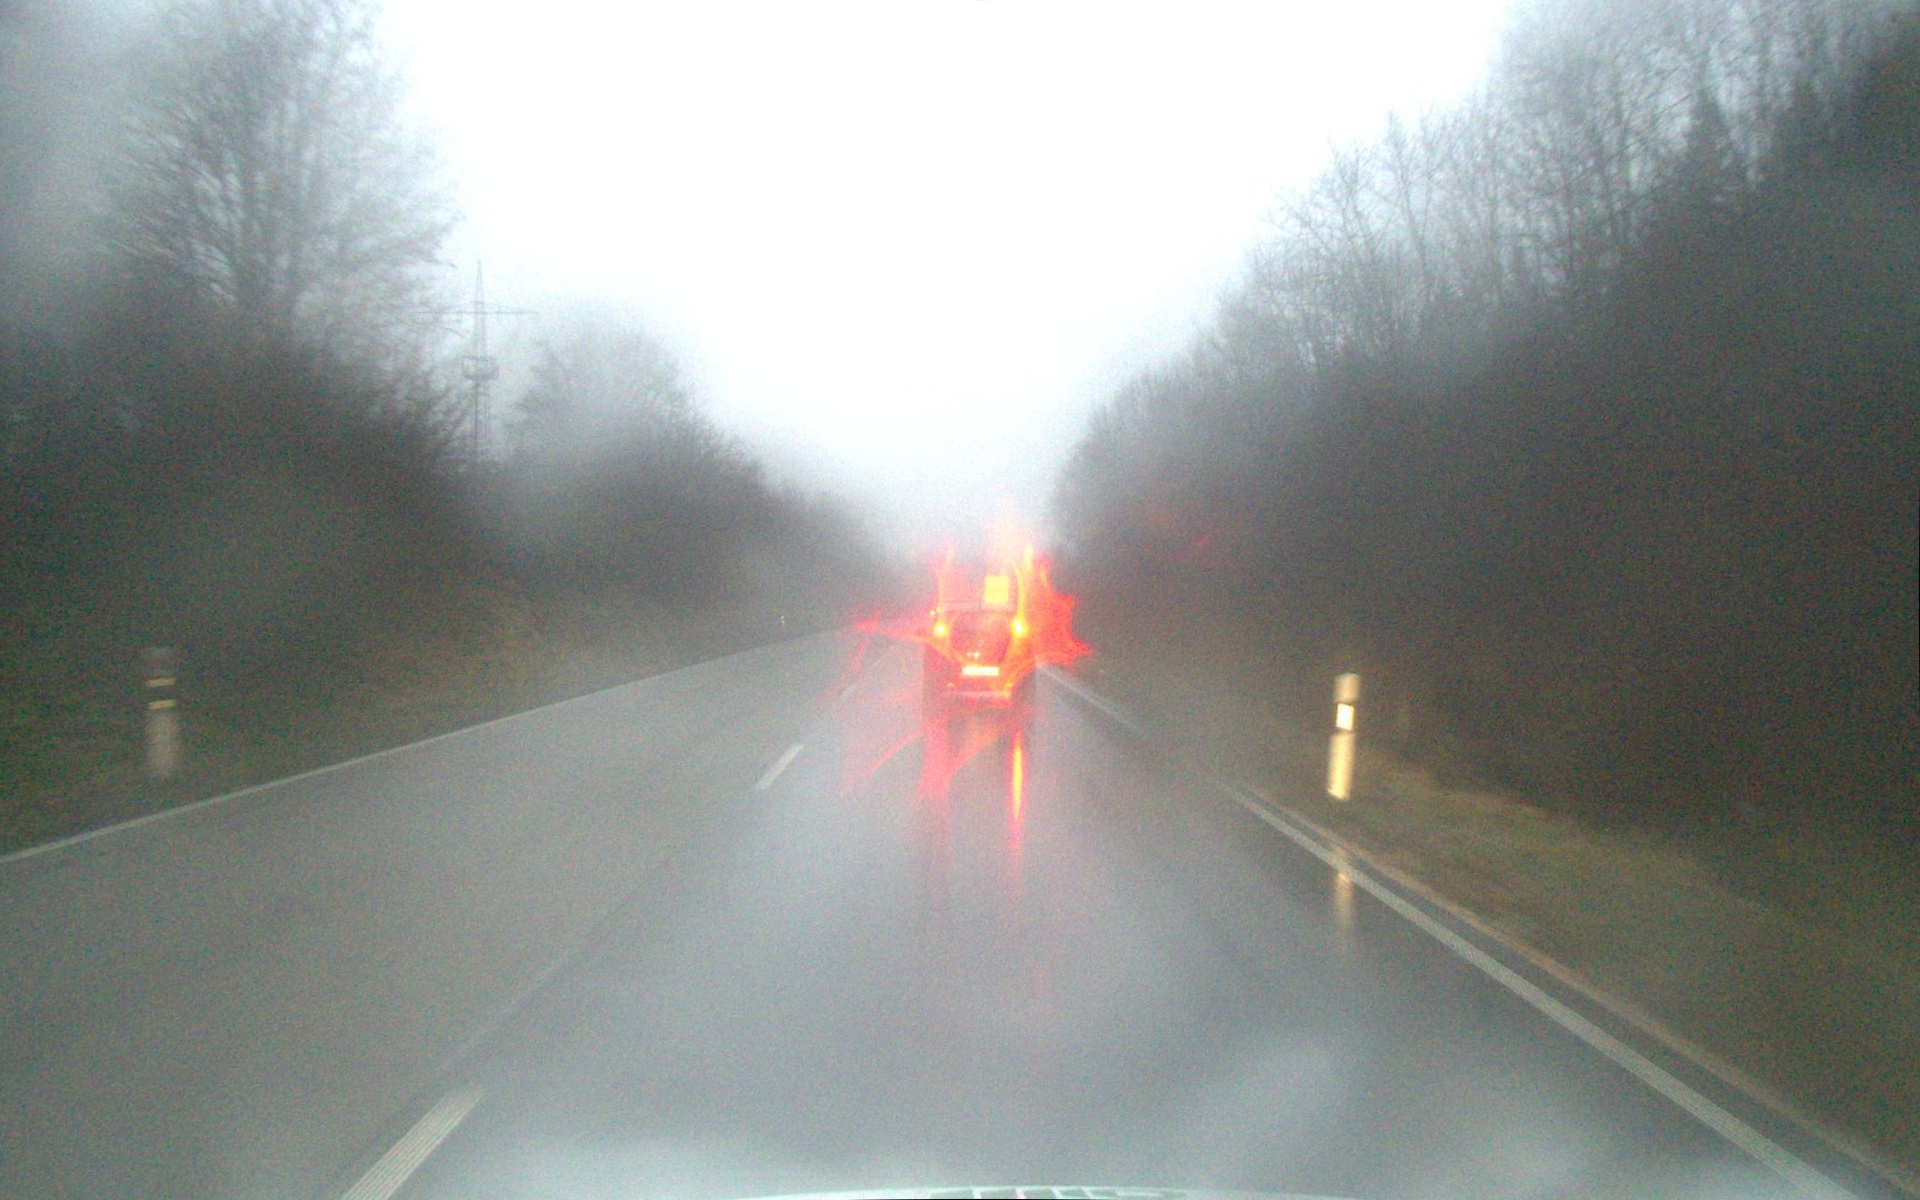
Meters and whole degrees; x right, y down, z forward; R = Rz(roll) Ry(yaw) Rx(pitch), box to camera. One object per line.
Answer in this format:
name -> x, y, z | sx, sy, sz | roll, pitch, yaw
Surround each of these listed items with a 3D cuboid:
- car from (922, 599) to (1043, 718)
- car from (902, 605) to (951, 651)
car -> 0.345, 0.839, 25.488 | 1.692, 1.672, 4.000 | 1, 0, 1
car -> -1.235, 1.019, 61.804 | 1.692, 1.672, 4.000 | 1, 0, 1
